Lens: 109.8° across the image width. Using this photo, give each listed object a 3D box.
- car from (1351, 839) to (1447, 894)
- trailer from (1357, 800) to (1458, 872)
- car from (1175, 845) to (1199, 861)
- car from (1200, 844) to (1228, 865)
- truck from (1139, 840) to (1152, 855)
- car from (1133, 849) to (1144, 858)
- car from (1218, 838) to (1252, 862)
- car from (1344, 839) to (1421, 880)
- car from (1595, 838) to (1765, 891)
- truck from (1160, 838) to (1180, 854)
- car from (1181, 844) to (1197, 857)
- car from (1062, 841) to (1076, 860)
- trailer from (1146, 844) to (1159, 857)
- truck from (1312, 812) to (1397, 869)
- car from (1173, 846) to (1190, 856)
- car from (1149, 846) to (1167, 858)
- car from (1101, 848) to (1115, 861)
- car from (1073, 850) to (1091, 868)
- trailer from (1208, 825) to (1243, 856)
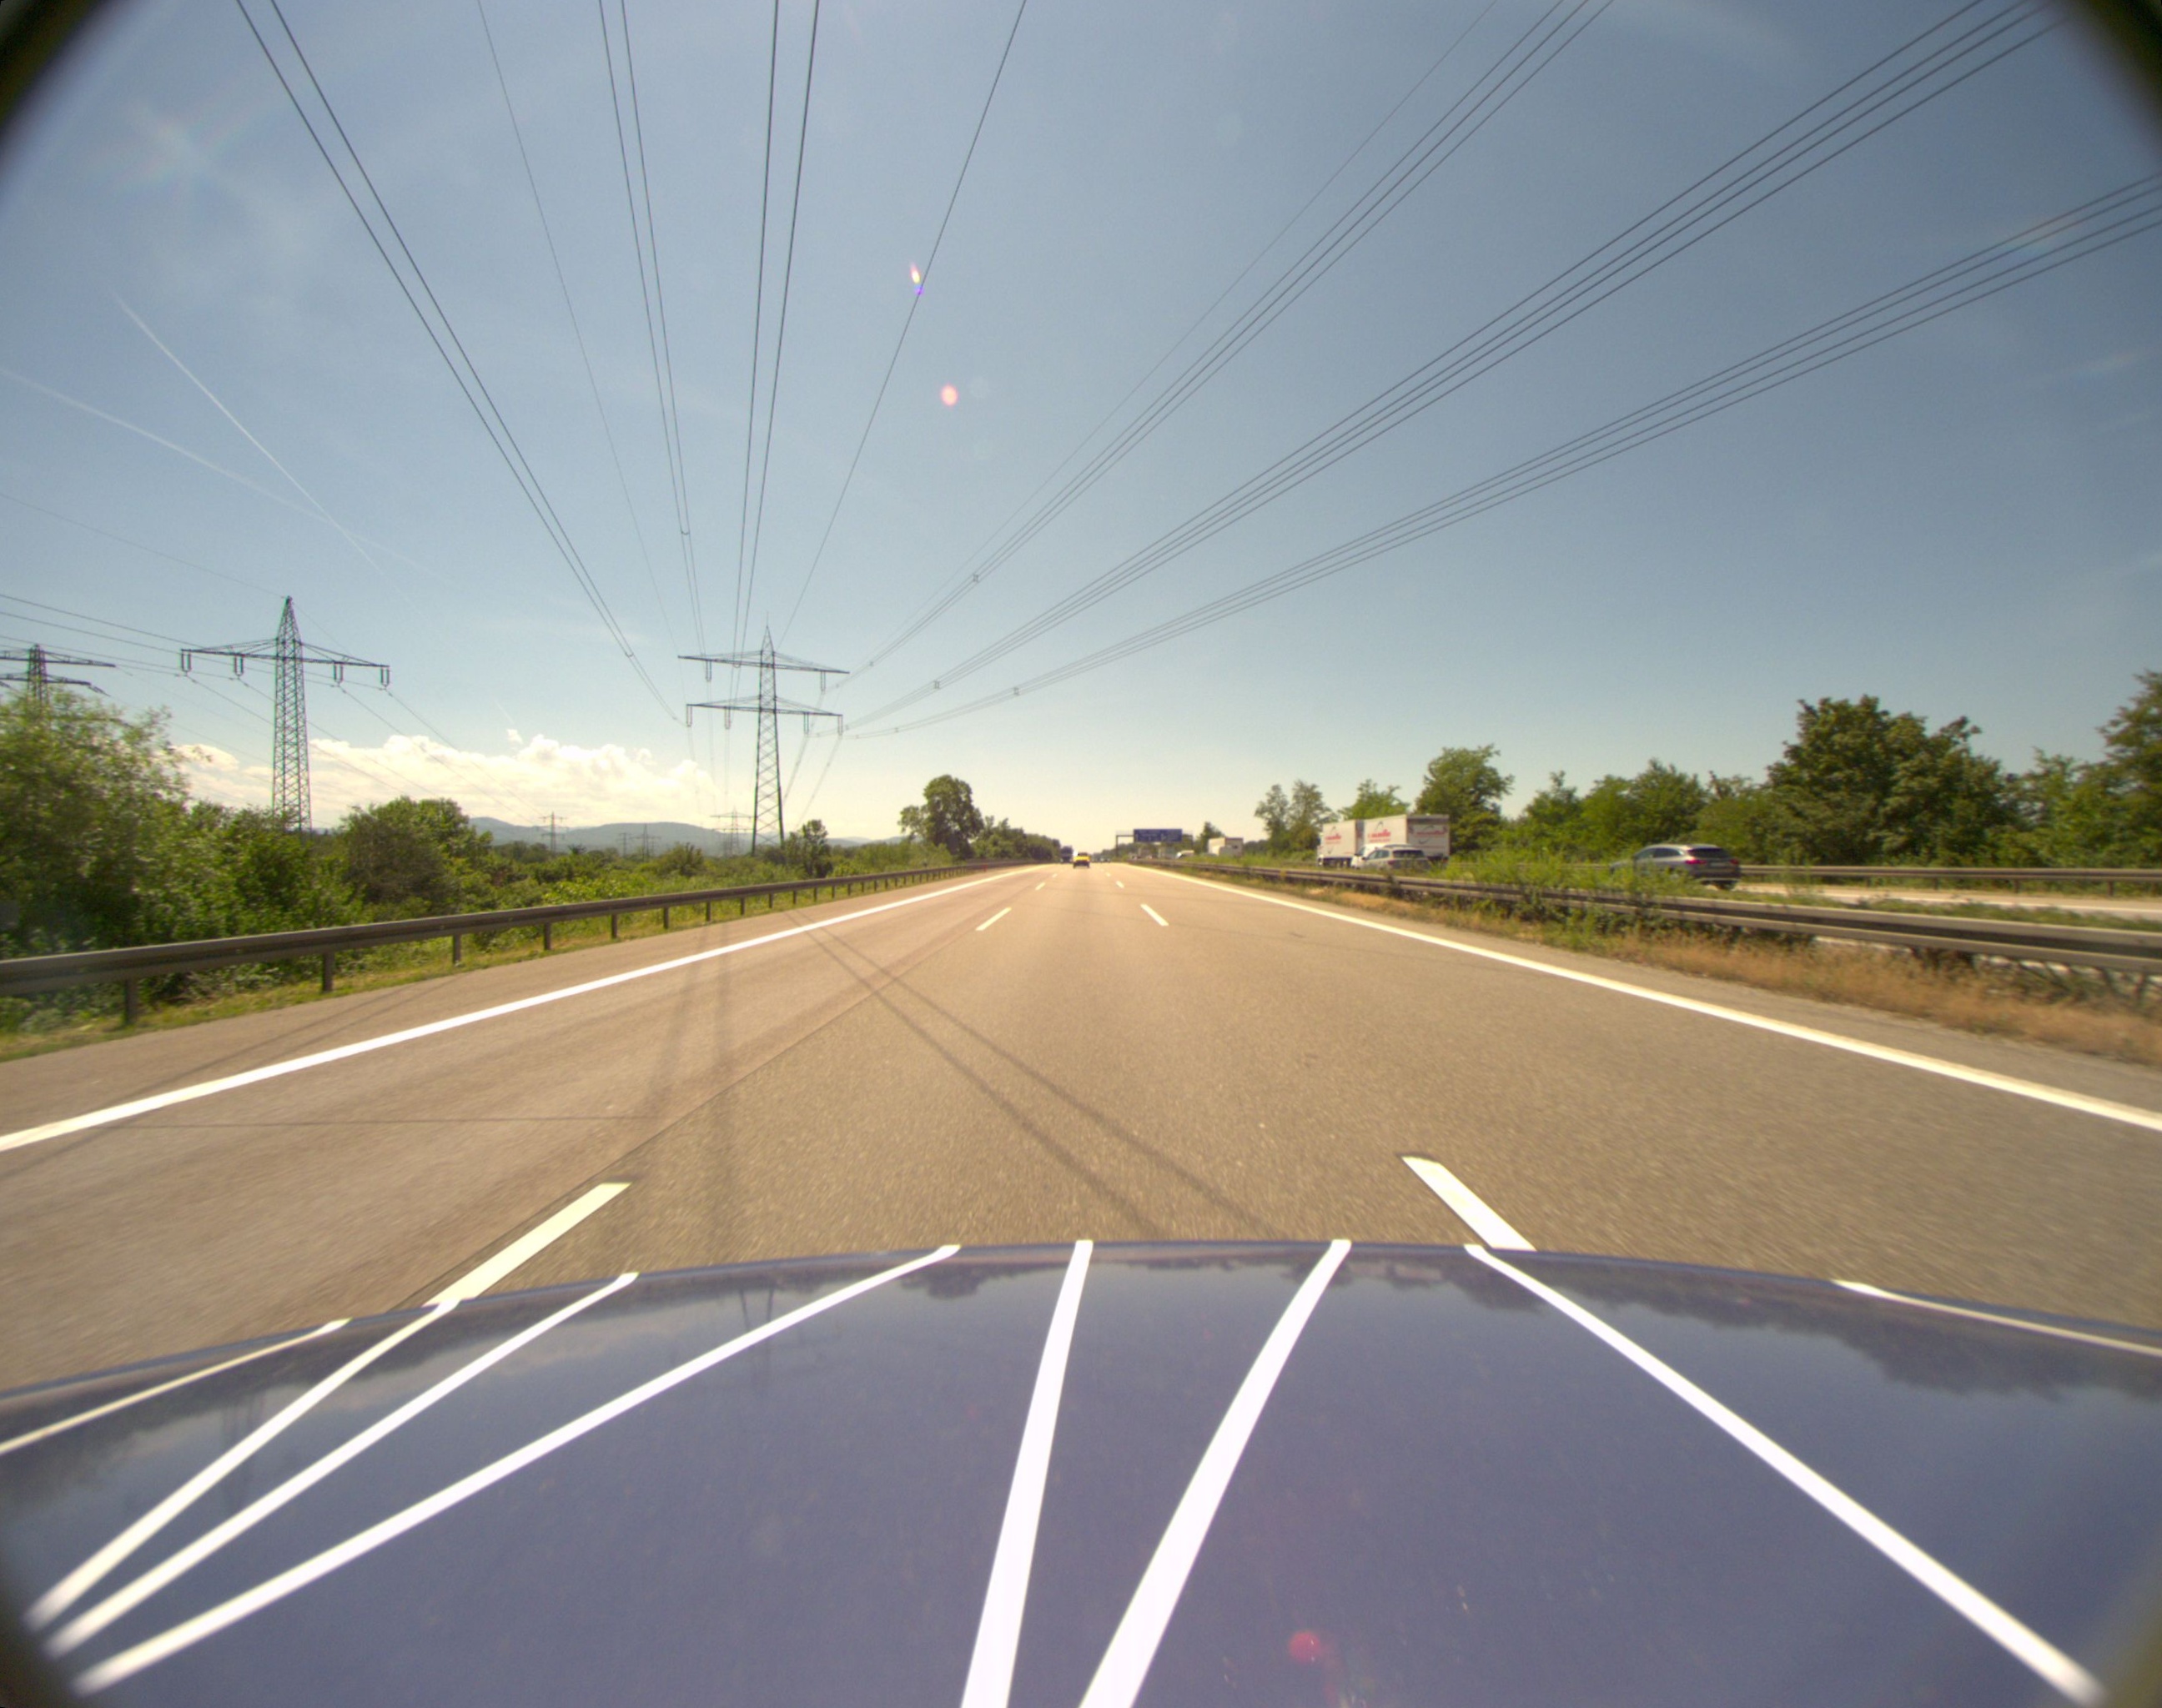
[{"bbox_3d":[12.884,0.462,31.115,1.998,2.002,4.626,-2,0,1],"label":"car"},{"bbox_3d":[20.944,-1.061,49.342,2.848,4.140,8.327,-2,0,0],"label":"trailer"},{"bbox_3d":[14.111,-0.089,101.688,2.489,2.002,4.557,-2,0,0],"label":"car"},{"bbox_3d":[13.644,0.057,78.268,1.998,2.002,5.701,-2,0,1],"label":"car"},{"bbox_3d":[18.501,-1.891,219.211,2.863,3.896,9.494,-2,1,1],"label":"truck"},{"bbox_3d":[14.157,-0.131,187.491,2.303,2.002,4.557,-2,0,0],"label":"car"},{"bbox_3d":[17.719,-0.466,88.005,2.489,2.564,7.121,-2,0,0],"label":"car"},{"bbox_3d":[16.407,0.265,41.734,1.998,2.002,5.701,-2,0,1],"label":"car"},{"bbox_3d":[20.738,0.331,26.665,1.998,1.576,5.067,-2,0,1],"label":"car"},{"bbox_3d":[22.425,-1.981,193.283,3.252,3.780,17.013,-2,0,1],"label":"truck"},{"bbox_3d":[22.359,-0.649,157.397,2.424,2.599,5.716,0,0,0],"label":"car"},{"bbox_3d":[-2.554,-0.721,157.669,2.686,3.723,6.270,-1,0,0],"label":"car"},{"bbox_3d":[24.390,-1.308,258.982,2.750,4.182,13.947,-2,0,-1],"label":"trailer"},{"bbox_3d":[20.871,-0.953,58.852,2.699,3.926,10.592,-2,0,0],"label":"truck"},{"bbox_3d":[17.589,-0.585,133.362,2.393,1.630,4.819,-2,0,0],"label":"car"},{"bbox_3d":[13.823,-0.339,136.556,2.489,1.920,5.739,-2,0,0],"label":"car"},{"bbox_3d":[5.352,0.125,151.014,2.686,2.510,5.967,-1,0,0],"label":"car"},{"bbox_3d":[0.117,0.537,88.219,1.955,2.002,5.433,-1,0,0],"label":"car"},{"bbox_3d":[21.530,-1.954,114.116,2.429,4.264,14.432,-2,0,0],"label":"trailer"}]
